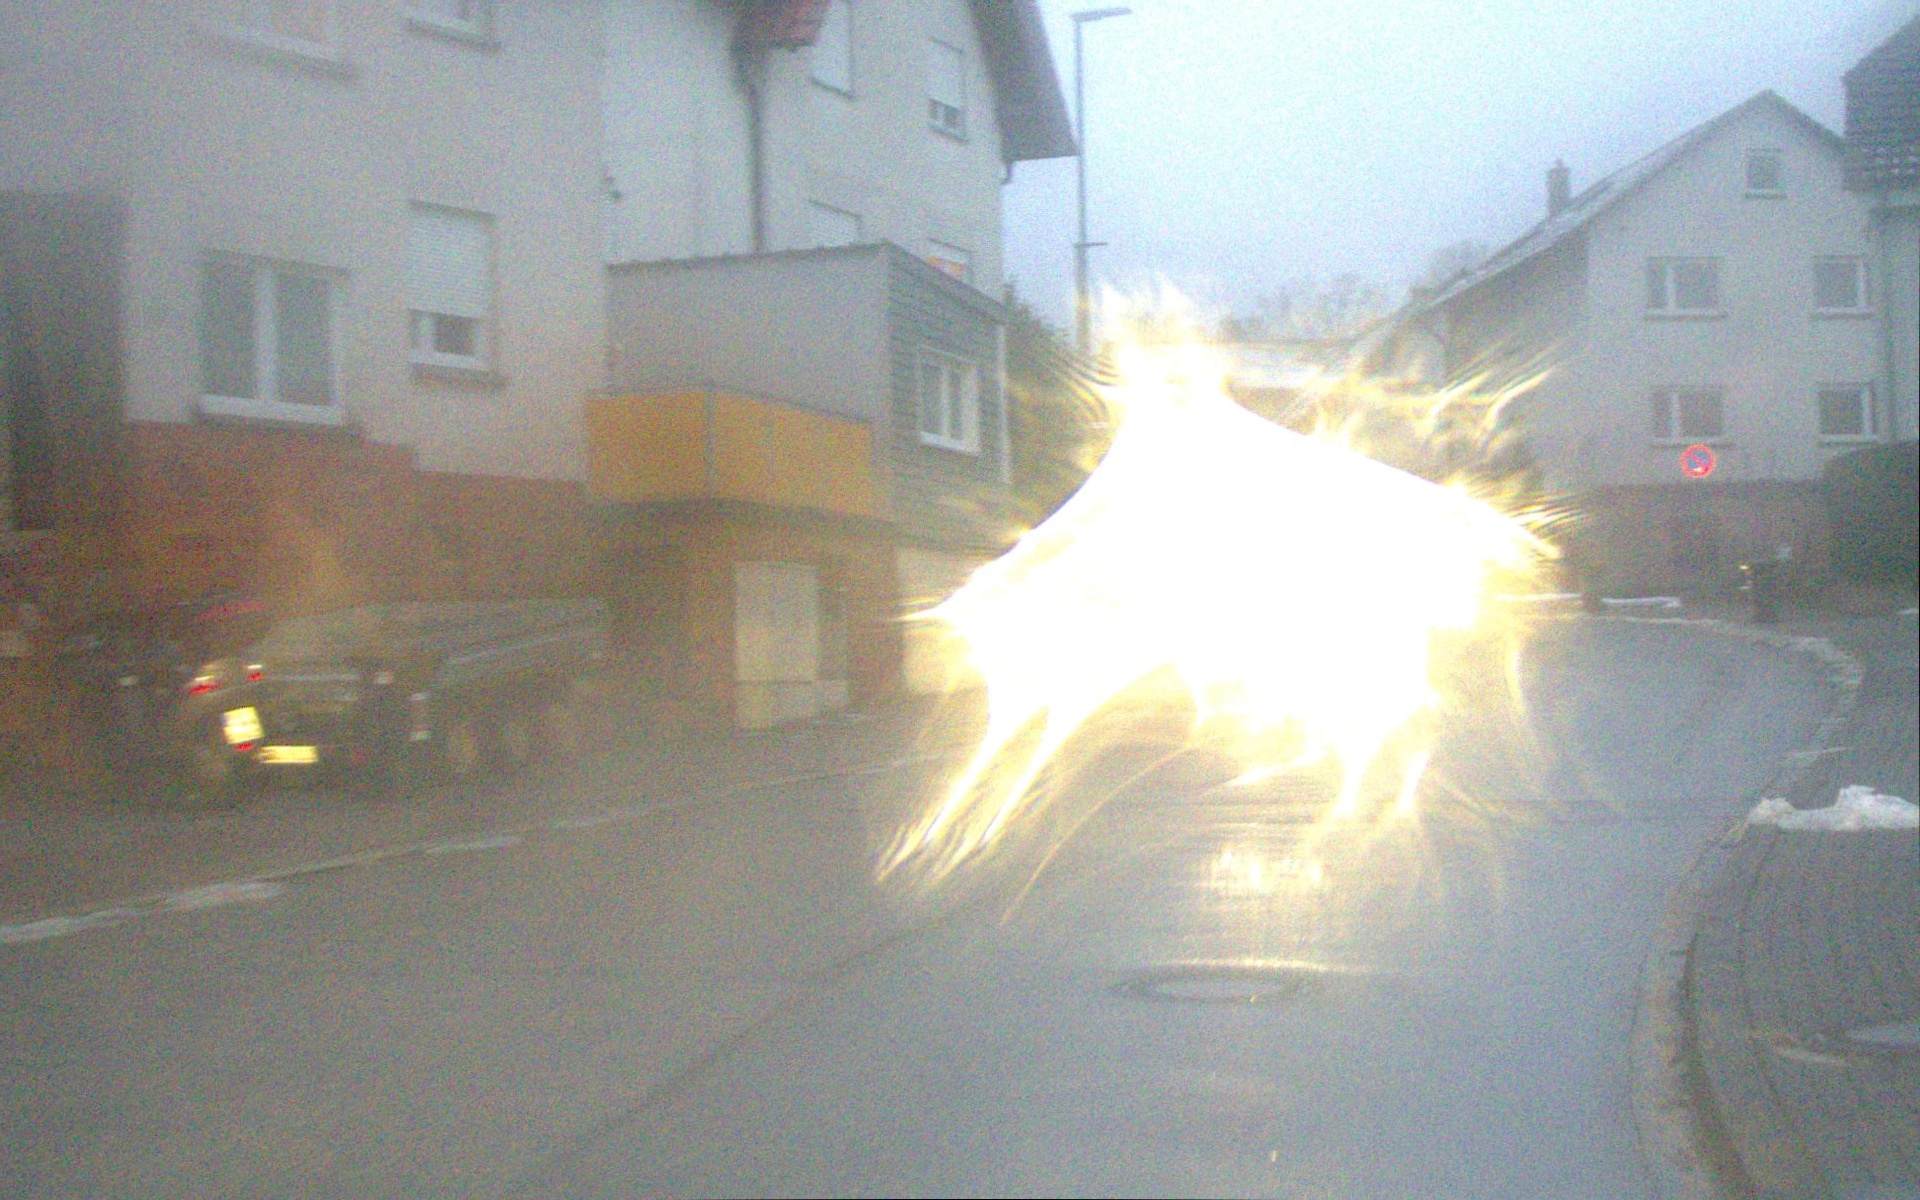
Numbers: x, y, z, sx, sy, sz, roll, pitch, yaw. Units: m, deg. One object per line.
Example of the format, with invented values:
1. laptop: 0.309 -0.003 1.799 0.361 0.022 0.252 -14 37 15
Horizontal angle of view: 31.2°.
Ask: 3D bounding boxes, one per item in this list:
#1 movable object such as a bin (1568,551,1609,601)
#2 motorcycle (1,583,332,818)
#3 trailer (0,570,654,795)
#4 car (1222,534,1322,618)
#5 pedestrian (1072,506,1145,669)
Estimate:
1. movable object such as a bin: 11.639 -0.443 63.687 0.637 0.914 0.685 -1 1 0
2. motorcycle: -4.773 0.561 20.560 1.054 1.294 2.238 0 1 -39
3. trailer: -4.086 0.457 22.688 2.061 1.165 4.862 2 2 23
4. car: 7.994 -0.622 87.739 2.111 2.020 4.981 -2 1 9
5. pedestrian: 1.594 -0.129 36.885 0.598 1.727 0.811 0 0 17
